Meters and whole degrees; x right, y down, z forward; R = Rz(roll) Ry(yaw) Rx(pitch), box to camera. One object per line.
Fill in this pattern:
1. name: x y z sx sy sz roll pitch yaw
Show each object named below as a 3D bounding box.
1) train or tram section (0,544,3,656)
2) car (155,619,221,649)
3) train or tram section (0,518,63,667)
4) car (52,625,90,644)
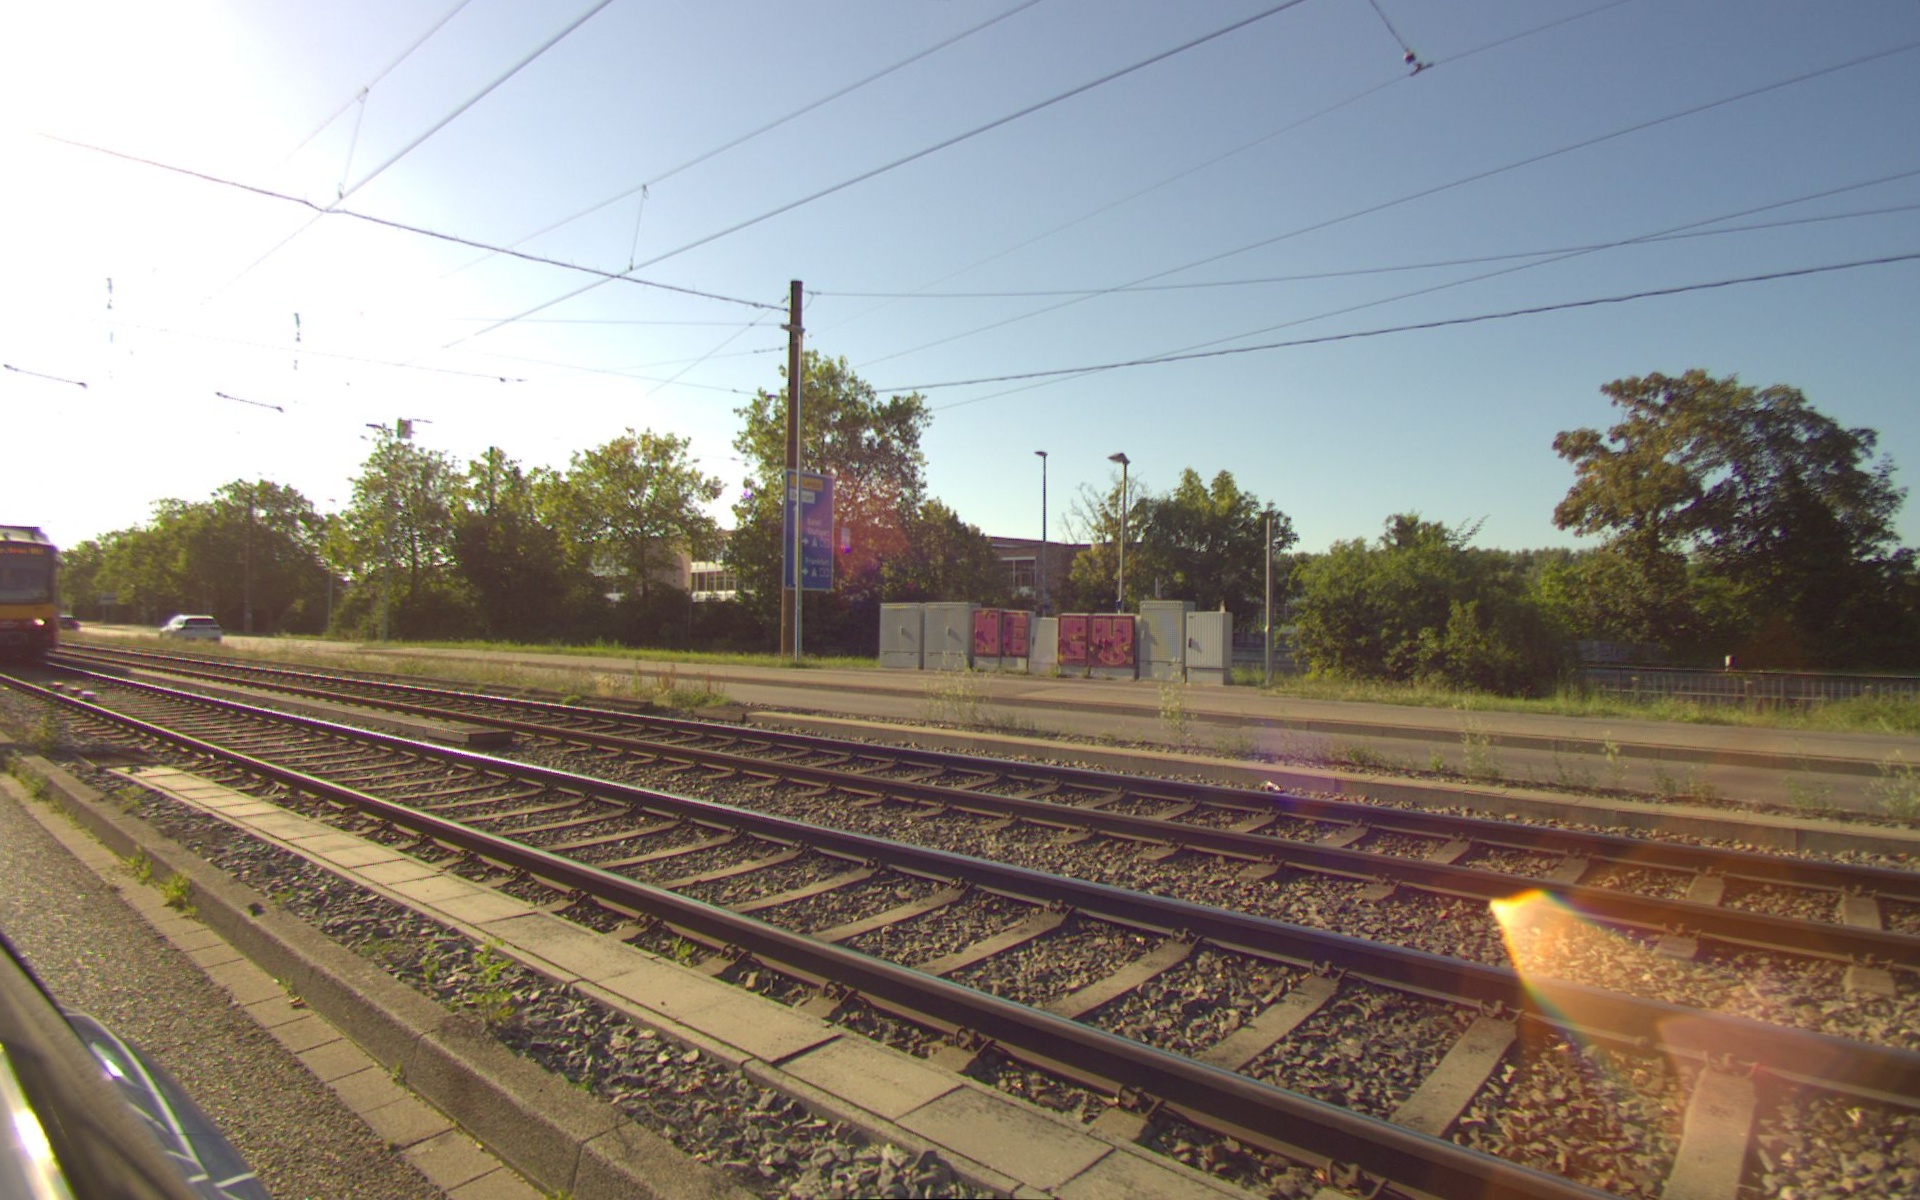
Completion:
1. train or tram section: -38.631 0.073 38.127 11.664 3.930 2.536 -1 -2 41
2. car: -37.479 1.629 49.112 3.998 1.363 1.778 -1 0 41
3. train or tram section: -29.784 -0.109 30.507 11.664 3.930 2.536 -1 -2 41
4. car: -70.020 2.695 79.684 3.998 1.363 1.778 -1 0 41
